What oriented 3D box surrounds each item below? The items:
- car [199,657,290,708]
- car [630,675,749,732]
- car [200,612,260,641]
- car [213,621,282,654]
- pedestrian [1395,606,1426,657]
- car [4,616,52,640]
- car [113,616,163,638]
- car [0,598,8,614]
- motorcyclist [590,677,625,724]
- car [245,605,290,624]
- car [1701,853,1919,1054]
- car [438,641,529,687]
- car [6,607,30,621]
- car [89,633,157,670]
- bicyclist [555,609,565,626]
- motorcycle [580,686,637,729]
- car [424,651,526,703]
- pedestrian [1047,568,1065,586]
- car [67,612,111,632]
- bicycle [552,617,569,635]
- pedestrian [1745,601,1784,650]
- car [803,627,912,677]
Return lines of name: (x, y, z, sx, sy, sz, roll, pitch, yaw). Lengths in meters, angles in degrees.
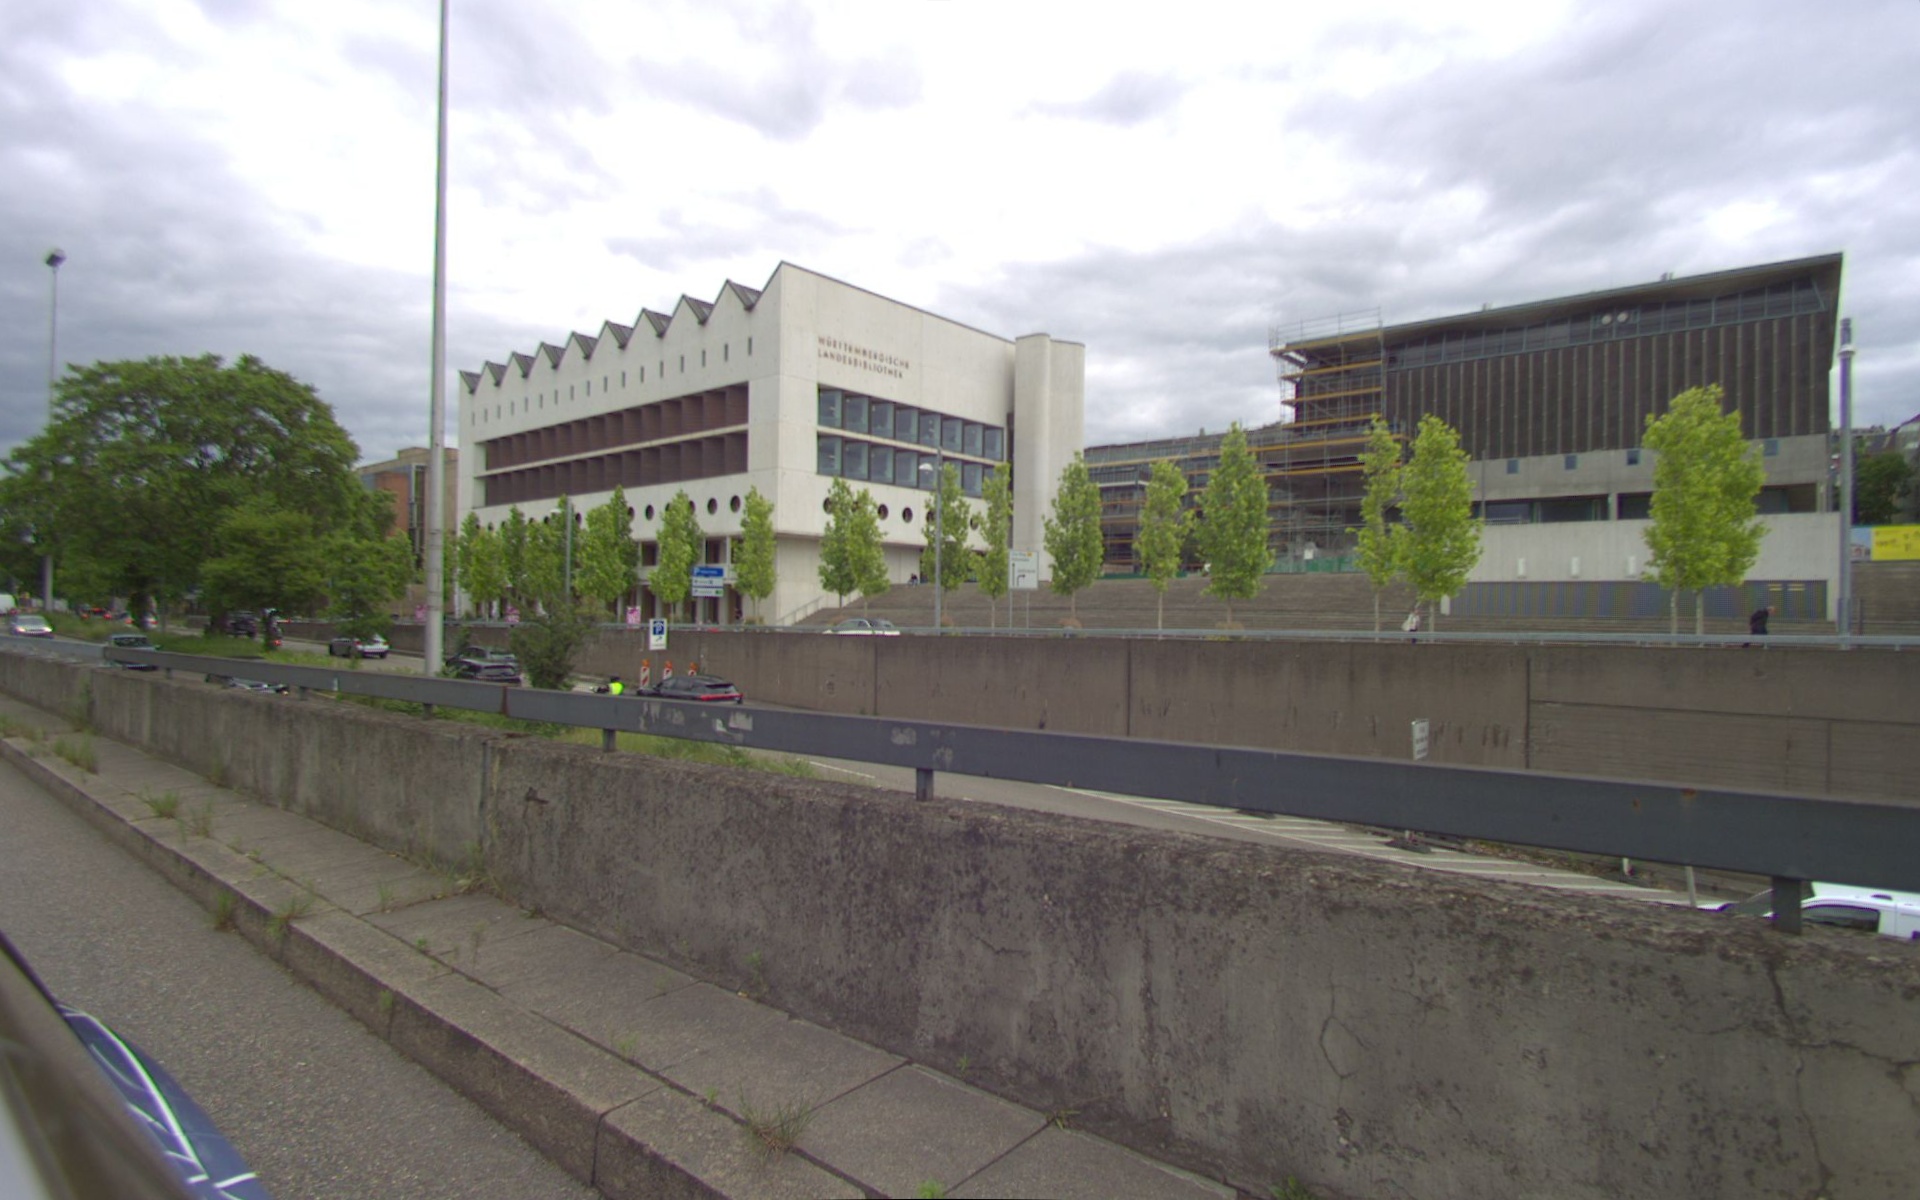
car: (-24.170, 2.740, 34.131, 4.089, 1.425, 1.539, -1, -1, 40)
car: (-8.947, 3.355, 33.326, 4.003, 1.338, 1.787, 3, 0, 40)
car: (-48.917, 1.761, 67.795, 4.514, 1.657, 2.133, 2, -2, 40)
car: (-38.956, 2.049, 55.328, 4.515, 1.687, 1.973, -1, -4, 41)
pedestrian: (18.175, 1.257, 40.822, 0.728, 2.029, 0.795, 0, -3, -22)
car: (-56.141, 1.664, 60.921, 4.089, 1.425, 1.636, -1, -1, 40)
car: (-57.180, 1.858, 70.412, 3.998, 1.409, 1.973, -1, -4, 41)
car: (-111.250, 0.712, 116.899, 3.999, 1.868, 1.588, 0, 1, 42)
motorcyclist: (-10.929, 3.109, 31.384, 0.718, 1.362, 0.662, 2, -3, 40)
car: (-59.665, 1.217, 87.225, 4.485, 1.640, 1.931, 0, 0, 38)
car: (11.600, 4.212, 11.310, 5.246, 1.651, 1.973, 1, -5, 40)
car: (-20.857, 2.760, 44.221, 4.388, 1.625, 1.851, 3, 0, 40)
car: (-99.759, 1.465, 107.176, 3.473, 1.448, 1.481, 0, 1, 42)
car: (-35.856, 2.175, 43.317, 4.089, 1.425, 1.539, -1, -1, 40)
bicyclist: (-29.050, 1.259, 73.495, 0.643, 1.169, 0.398, 0, 1, 39)
motorcycle: (-10.909, 3.324, 31.353, 2.050, 1.106, 0.678, 3, -2, 41)
car: (-17.814, 2.771, 37.103, 4.144, 1.500, 1.757, 3, 0, 40)
pedestrian: (6.143, -1.470, 64.672, 0.767, 0.950, 0.718, 2, 22, 34)
car: (-68.124, 1.732, 79.155, 3.998, 1.409, 1.973, -1, -4, 41)
bicycle: (-29.010, 1.860, 73.474, 1.697, 1.282, 0.398, 0, 1, 39)
pedestrian: (27.357, 0.866, 34.429, 0.728, 1.655, 0.795, 0, -3, -34)
car: (-3.996, 1.994, 39.359, 3.998, 1.776, 1.973, 0, -4, 41)
